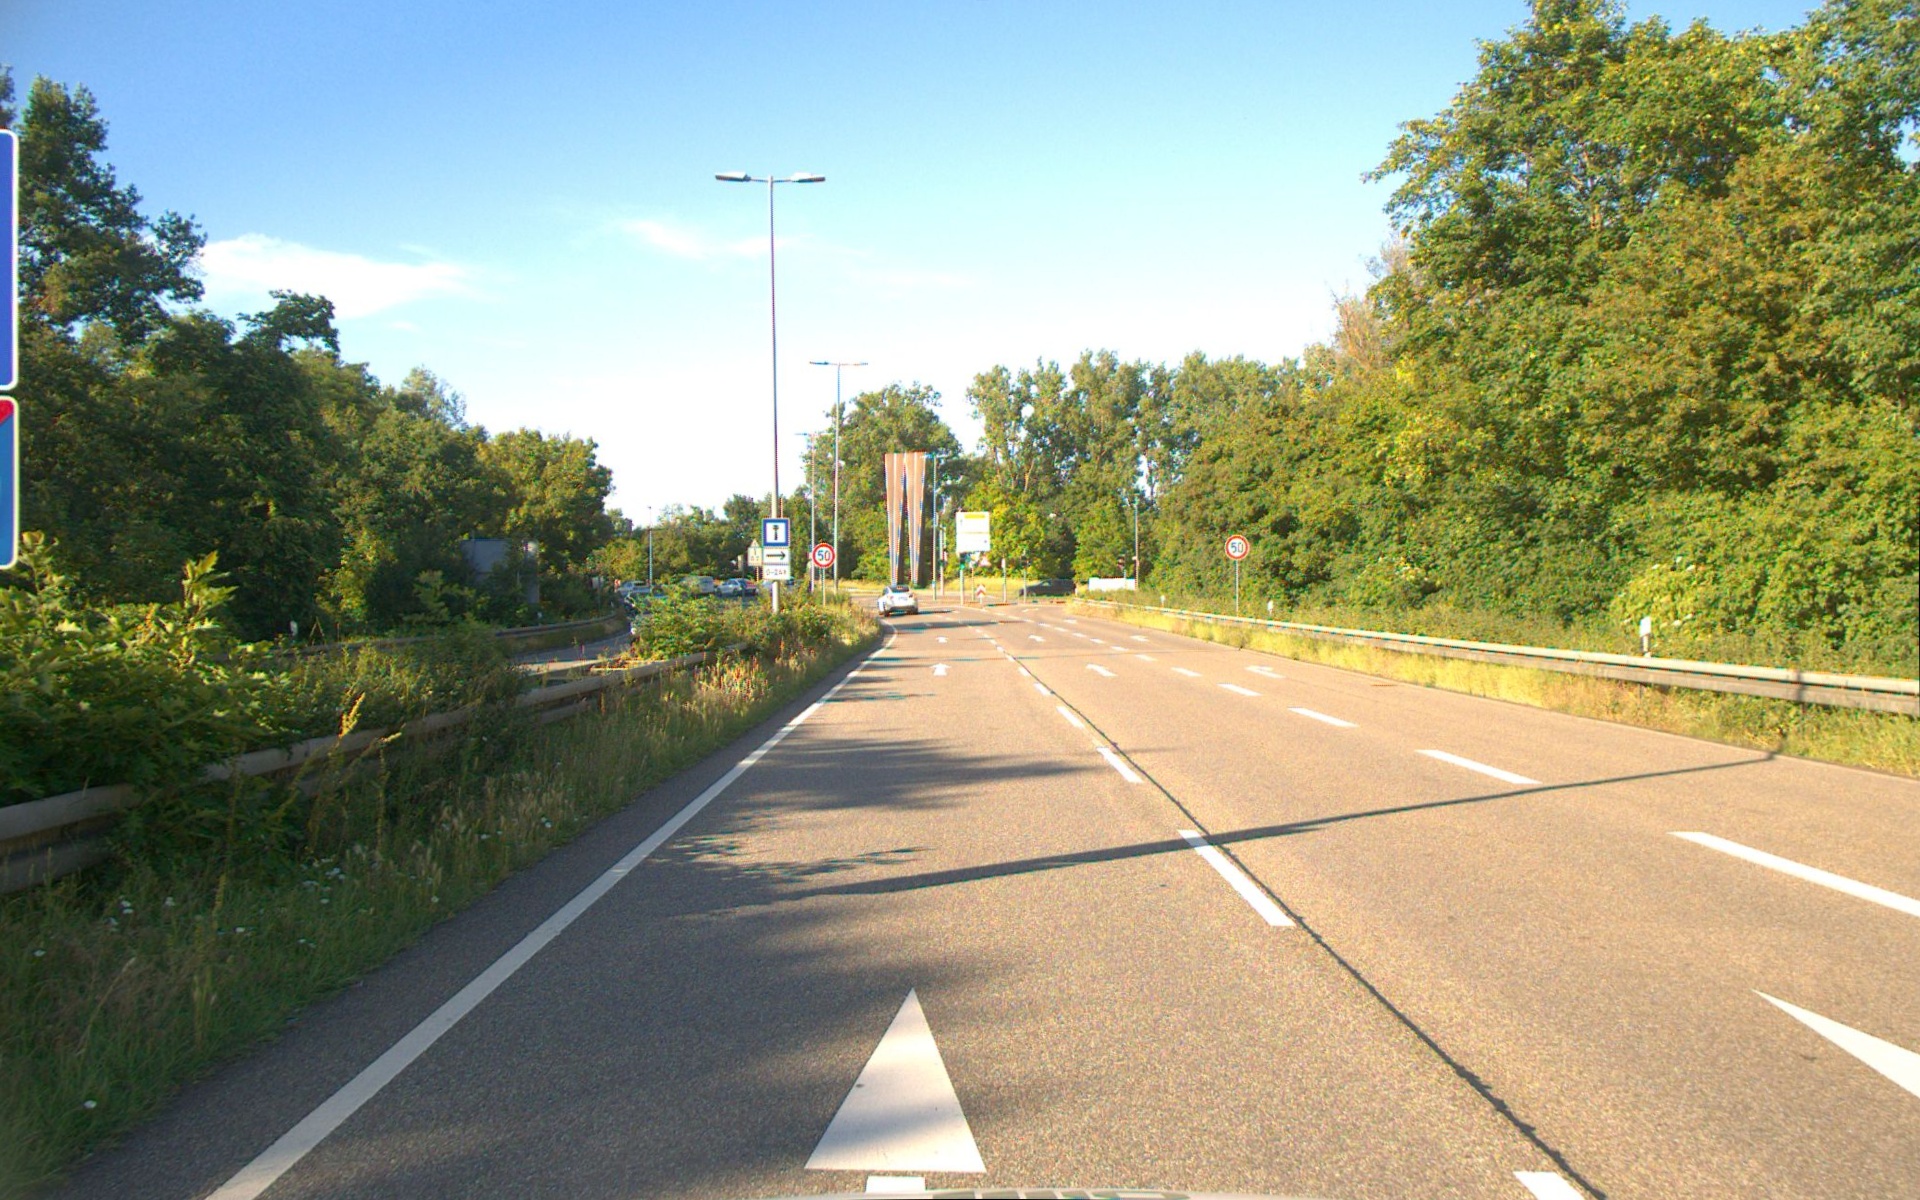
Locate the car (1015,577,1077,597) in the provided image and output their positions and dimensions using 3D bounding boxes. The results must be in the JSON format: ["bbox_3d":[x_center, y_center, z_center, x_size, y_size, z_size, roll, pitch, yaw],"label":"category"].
[{"bbox_3d":[6.480,-1.000,125.299,4.376,1.489,1.996,-1,1,-10],"label":"car"}]

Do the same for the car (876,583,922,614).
[{"bbox_3d":[-3.484,-0.103,93.268,1.958,1.668,4.117,-1,1,-11],"label":"car"}]

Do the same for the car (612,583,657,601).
[{"bbox_3d":[-29.446,-0.730,149.605,2.256,1.534,3.935,-1,0,-44],"label":"car"}]

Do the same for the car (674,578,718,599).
[{"bbox_3d":[-22.364,-1.016,140.189,1.957,1.728,3.943,-2,2,-40],"label":"car"}]

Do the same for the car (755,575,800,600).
[{"bbox_3d":[-14.119,-0.977,127.788,1.973,1.912,4.206,-2,1,-30],"label":"car"}]

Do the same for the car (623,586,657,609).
[{"bbox_3d":[-22.193,-0.177,114.655,1.856,1.445,4.344,-3,1,-17],"label":"car"}]

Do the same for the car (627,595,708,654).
[{"bbox_3d":[-8.650,0.691,49.247,1.734,1.597,4.217,-2,0,-2],"label":"car"}]

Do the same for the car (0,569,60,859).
[{"bbox_3d":[-6.842,0.727,8.768,1.796,1.803,4.337,-1,0,-1],"label":"car"}]

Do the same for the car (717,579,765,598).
[{"bbox_3d":[-18.810,-1.001,141.971,4.085,1.500,1.961,0,2,45],"label":"car"}]
